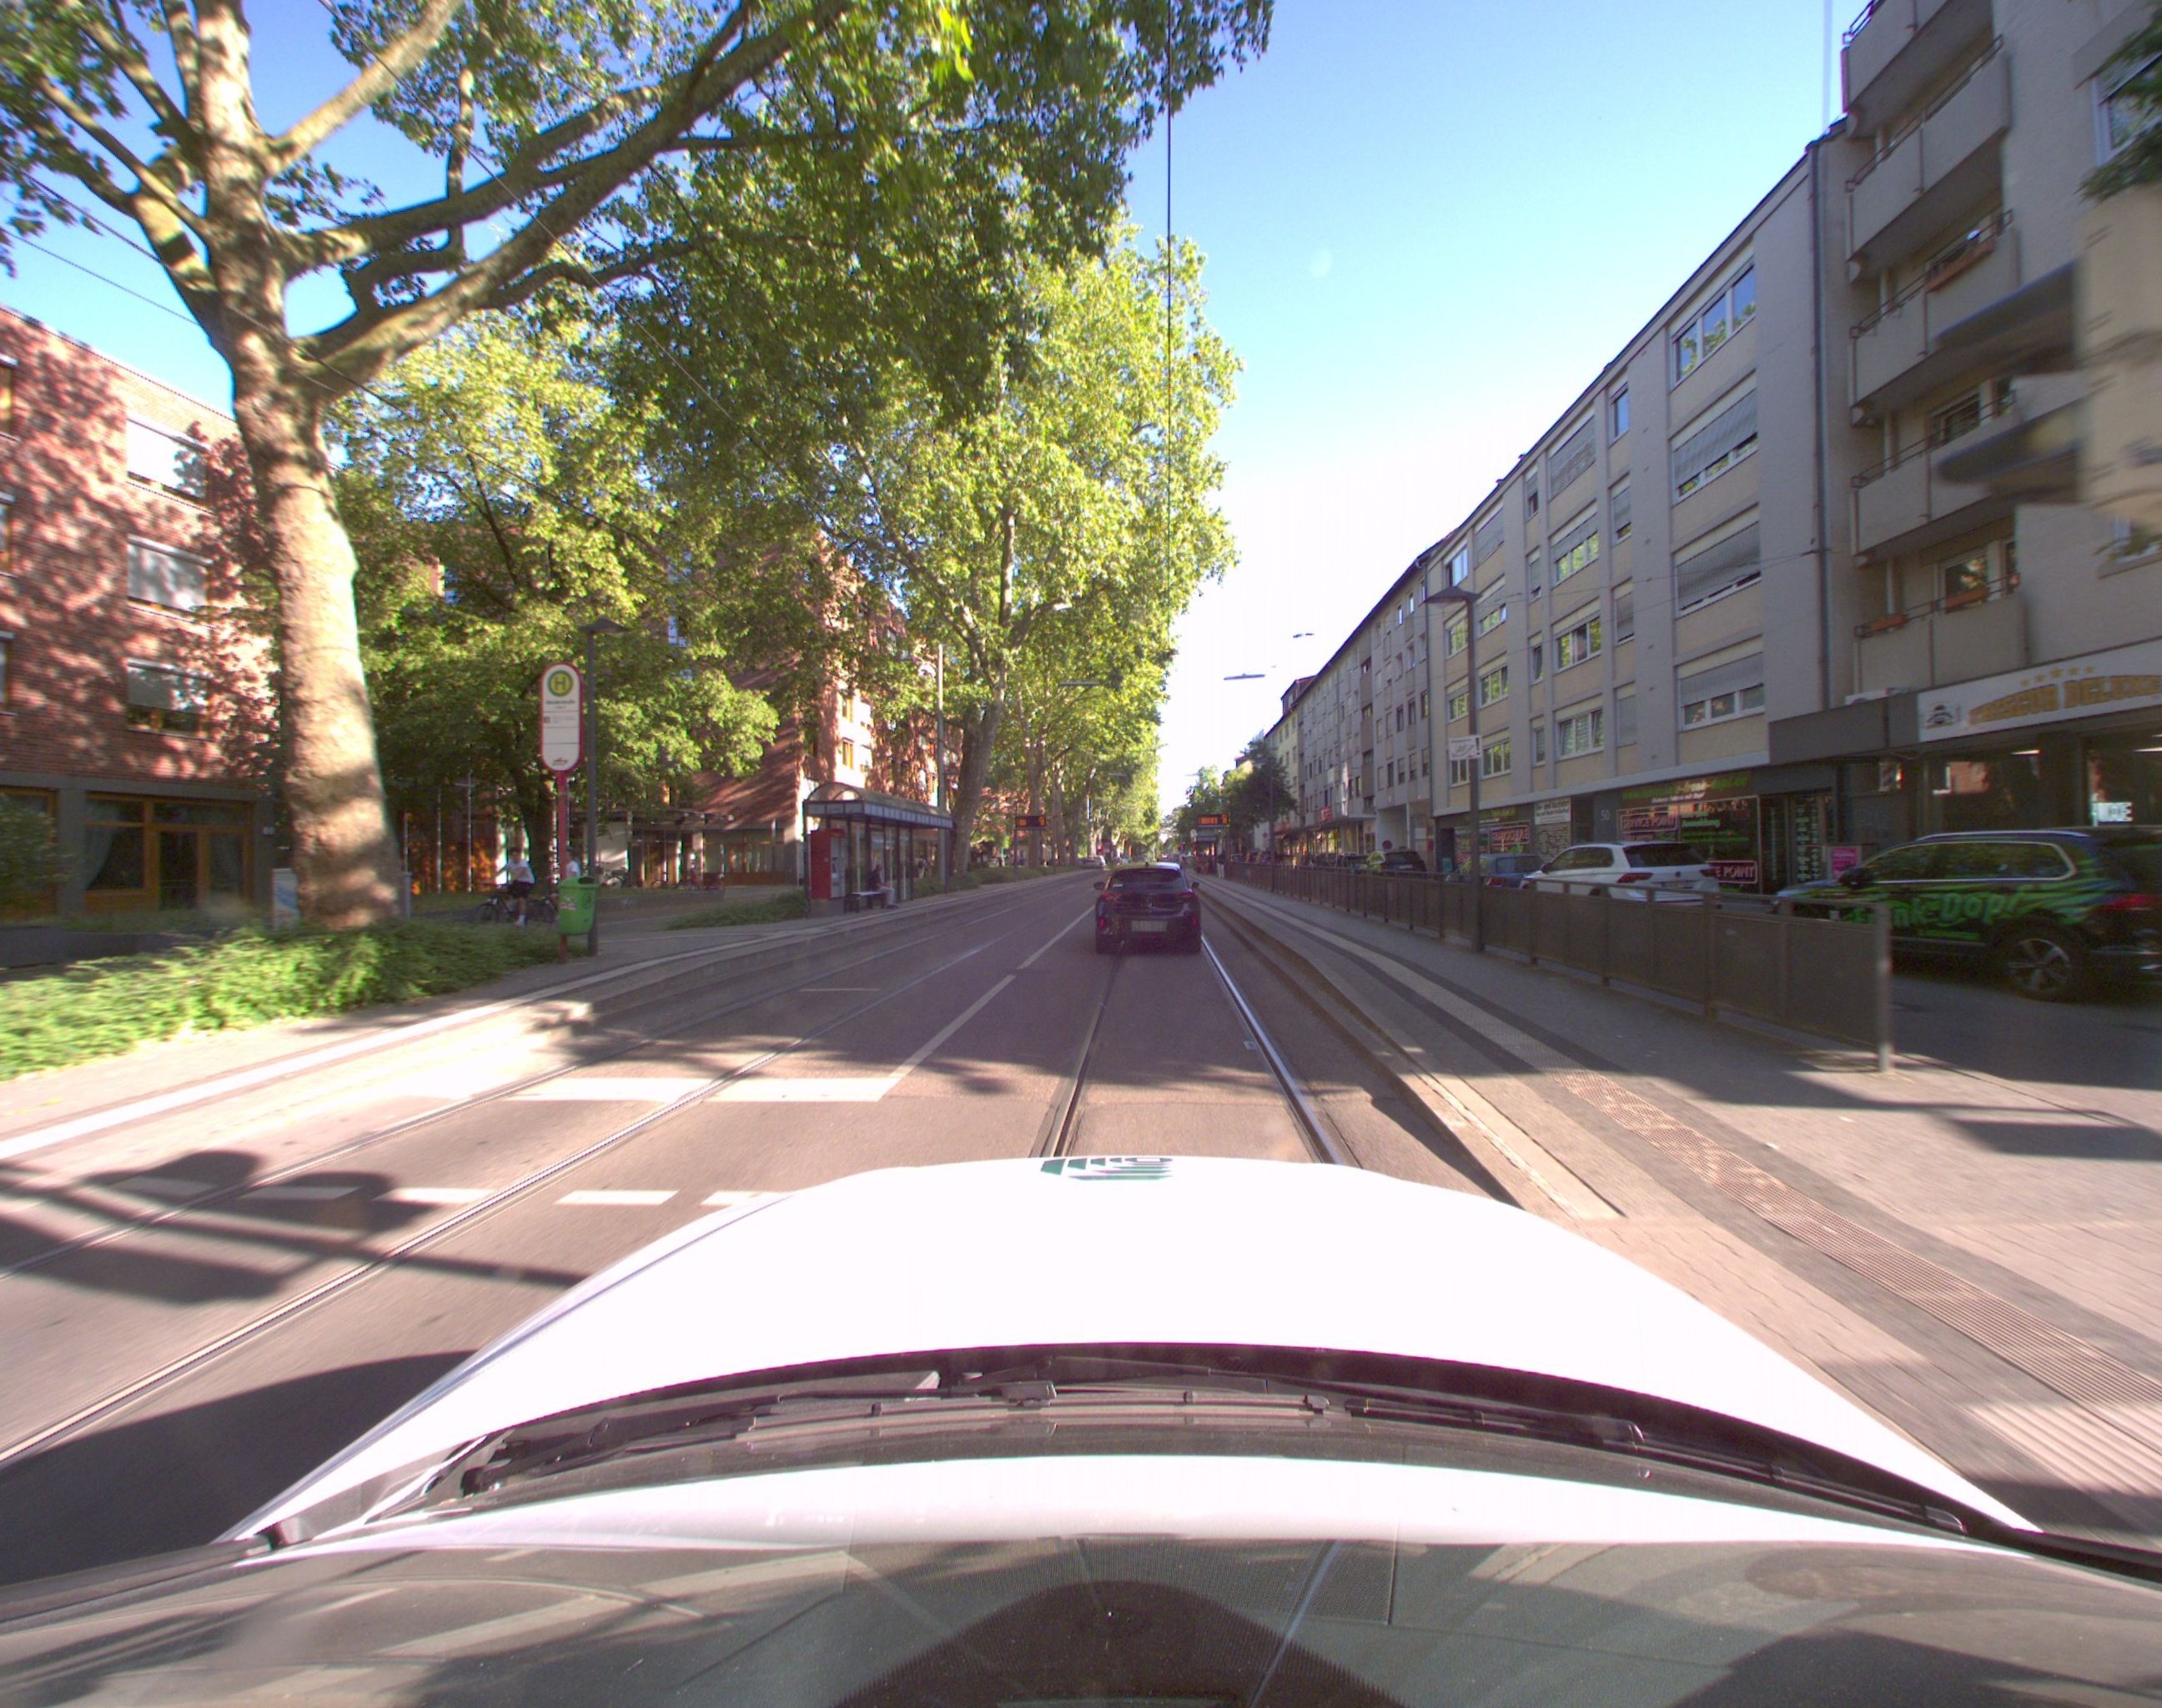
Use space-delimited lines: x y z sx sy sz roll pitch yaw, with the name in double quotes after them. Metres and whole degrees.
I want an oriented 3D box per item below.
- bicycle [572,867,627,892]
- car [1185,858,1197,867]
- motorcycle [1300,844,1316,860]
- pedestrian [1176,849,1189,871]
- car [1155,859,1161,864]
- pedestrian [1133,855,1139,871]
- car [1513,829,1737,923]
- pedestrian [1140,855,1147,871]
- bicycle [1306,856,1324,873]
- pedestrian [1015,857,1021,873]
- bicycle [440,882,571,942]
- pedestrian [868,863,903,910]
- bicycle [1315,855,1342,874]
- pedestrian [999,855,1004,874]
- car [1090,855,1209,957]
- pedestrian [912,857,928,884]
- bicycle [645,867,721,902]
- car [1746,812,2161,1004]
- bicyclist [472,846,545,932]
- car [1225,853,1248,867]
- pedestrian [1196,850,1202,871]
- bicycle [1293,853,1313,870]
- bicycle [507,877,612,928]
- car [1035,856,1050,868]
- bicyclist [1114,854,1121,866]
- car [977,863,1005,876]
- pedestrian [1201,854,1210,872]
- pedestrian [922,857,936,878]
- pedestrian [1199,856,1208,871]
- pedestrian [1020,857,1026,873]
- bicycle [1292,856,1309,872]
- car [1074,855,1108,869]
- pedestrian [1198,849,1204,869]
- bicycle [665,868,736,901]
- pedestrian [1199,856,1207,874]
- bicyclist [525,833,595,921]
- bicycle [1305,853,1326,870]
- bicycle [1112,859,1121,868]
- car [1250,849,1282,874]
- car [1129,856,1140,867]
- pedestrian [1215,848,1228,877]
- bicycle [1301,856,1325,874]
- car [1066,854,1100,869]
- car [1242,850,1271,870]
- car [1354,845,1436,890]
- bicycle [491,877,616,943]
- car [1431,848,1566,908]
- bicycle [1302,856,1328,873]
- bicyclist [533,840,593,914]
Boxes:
-21.199 1.114 35.885 1.941 1.073 0.762 0 -1 -12 "bicycle"
20.156 1.591 149.651 1.984 1.633 4.005 0 -1 5 "car"
18.453 -0.167 66.329 0.887 1.280 2.046 0 -1 5 "motorcycle"
8.175 0.483 65.385 0.742 1.709 0.768 -1 -1 39 "pedestrian"
23.688 2.324 250.223 1.738 1.544 4.003 0 -1 3 "car"
6.838 1.076 101.060 0.671 2.013 0.703 1 0 11 "pedestrian"
10.472 0.405 16.149 1.791 1.606 4.421 0 -1 5 "car"
7.766 1.083 100.667 0.670 2.013 0.704 1 0 16 "pedestrian"
15.765 0.699 54.880 0.409 1.136 2.199 0 -1 -6 "bicycle"
-7.765 1.337 99.781 0.669 1.950 0.498 1 0 1 "pedestrian"
-11.894 1.161 16.976 0.779 1.111 2.597 0 -1 2 "bicycle"
-5.074 0.828 21.147 0.702 1.168 0.660 -2 -1 1 "pedestrian"
15.016 0.662 49.470 0.620 1.136 2.434 0 -1 -6 "bicycle"
-7.864 1.030 80.232 0.496 1.950 0.672 0 -1 -7 "pedestrian"
1.133 0.817 14.169 1.752 1.508 3.685 -1 -1 3 "car"
-9.987 1.003 50.556 0.732 1.672 0.862 0 -1 5 "pedestrian"
-14.477 1.107 29.633 2.446 1.219 0.683 1 -1 5 "bicycle"
10.093 0.456 9.065 1.984 1.615 4.451 -2 -1 5 "car"
-11.898 0.716 16.950 0.771 1.750 0.998 0 -1 3 "bicyclist"
16.217 0.636 85.189 1.984 1.486 4.005 0 -1 5 "car"
10.036 0.558 69.329 0.528 1.709 0.753 0 -1 7 "pedestrian"
15.513 0.525 57.048 0.596 1.136 2.199 0 -1 -6 "bicycle"
-12.573 1.133 19.774 0.779 1.111 2.597 0 -1 2 "bicycle"
-6.722 1.363 142.279 1.984 2.014 4.005 0 -1 5 "car"
5.278 0.890 118.025 0.936 1.703 1.155 0 -1 8 "bicyclist"
-14.817 2.576 134.635 4.230 2.014 2.002 0 -1 4 "car"
8.751 0.648 57.098 0.532 1.230 0.510 0 -1 1 "pedestrian"
-11.525 1.006 61.751 0.771 1.605 0.947 0 -1 5 "pedestrian"
8.671 0.684 57.747 0.532 1.099 0.551 0 -1 1 "pedestrian"
-7.041 1.302 98.828 0.669 1.950 0.498 1 0 1 "pedestrian"
15.756 0.716 58.468 0.595 1.136 2.203 0 -1 -1 "bicycle"
1.325 1.063 108.794 4.374 1.851 1.998 0 -1 -3 "car"
10.346 0.421 70.339 0.528 1.763 0.662 0 -1 7 "pedestrian"
-14.194 1.122 30.378 2.329 1.166 0.683 0 -1 5 "bicycle"
8.776 0.795 58.426 0.501 1.304 0.429 0 -1 1 "pedestrian"
-10.682 0.462 16.723 0.779 1.763 0.951 0 -1 2 "bicyclist"
16.127 0.510 55.986 0.596 1.136 2.199 0 -1 -6 "bicycle"
5.156 1.322 117.120 0.949 1.240 2.984 0 -1 8 "bicycle"
15.010 0.615 66.378 1.984 1.952 4.004 0 -1 4 "car"
8.236 1.161 125.461 1.738 1.544 4.003 0 -1 3 "car"
7.976 0.481 46.325 0.628 1.576 0.872 1 0 5 "pedestrian"
14.773 0.692 51.934 0.601 1.136 2.429 0 -1 -6 "bicycle"
0.223 0.884 97.116 4.104 1.701 1.882 0 -1 -3 "car"
15.687 0.556 73.026 1.984 1.797 4.004 0 -1 4 "car"
12.144 0.516 31.795 1.848 1.615 4.404 0 -1 5 "car"
-10.687 1.095 16.655 0.779 1.191 2.597 0 -1 2 "bicycle"
10.962 0.607 21.741 1.735 1.440 4.253 0 -1 5 "car"
15.301 0.685 53.363 0.610 1.136 2.915 0 -1 -6 "bicycle"
-12.570 0.552 19.784 0.771 1.750 0.998 0 -1 1 "bicyclist"
